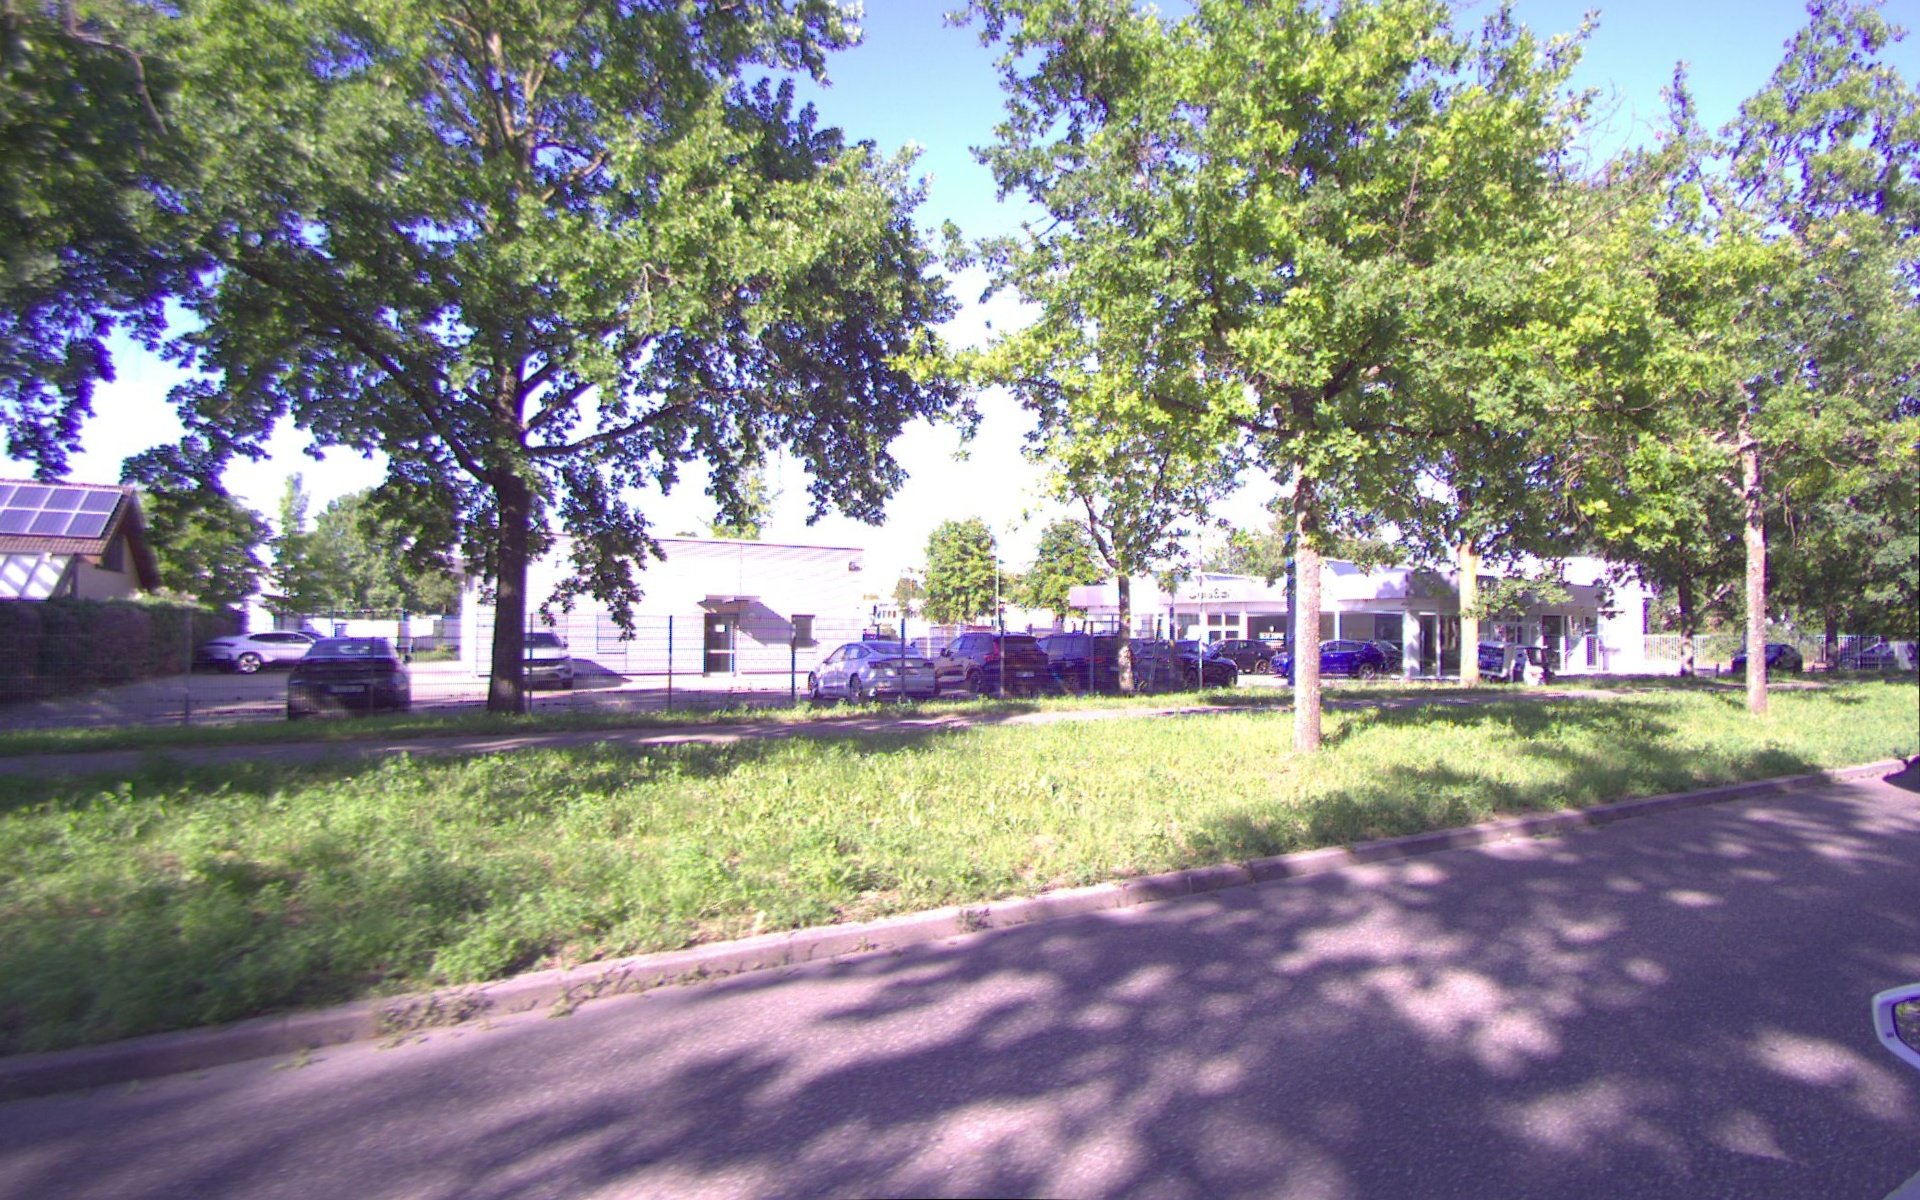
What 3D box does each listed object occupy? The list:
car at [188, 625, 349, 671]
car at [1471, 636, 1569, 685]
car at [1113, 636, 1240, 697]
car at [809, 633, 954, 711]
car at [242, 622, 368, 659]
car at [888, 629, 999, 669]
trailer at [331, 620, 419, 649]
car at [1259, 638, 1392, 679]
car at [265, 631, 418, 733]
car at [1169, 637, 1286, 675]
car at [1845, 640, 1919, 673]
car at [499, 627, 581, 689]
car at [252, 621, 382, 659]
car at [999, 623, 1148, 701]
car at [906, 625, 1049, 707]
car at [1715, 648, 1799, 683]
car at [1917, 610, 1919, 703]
[{"bbox_3d":[-25.548,1.717,37.285,1.717,1.539,4.607,2,0,33],"label":"car"},{"bbox_3d":[18.148,1.934,32.665,1.402,1.489,2.568,1,-2,-15],"label":"car"},{"bbox_3d":[6.946,2.041,31.918,1.971,1.697,4.475,2,0,42],"label":"car"},{"bbox_3d":[-1.978,1.639,23.972,1.839,1.539,4.292,2,0,-29],"label":"car"},{"bbox_3d":[-30.161,1.847,46.336,1.723,1.539,4.592,2,0,44],"label":"car"},{"bbox_3d":[-0.707,2.242,46.371,5.226,1.683,1.973,2,0,-45],"label":"car"},{"bbox_3d":[-41.866,2.473,71.998,5.096,2.040,2.001,0,-1,1],"label":"trailer"},{"bbox_3d":[15.959,2.526,44.046,5.153,1.683,2.001,0,0,7],"label":"car"},{"bbox_3d":[-11.378,1.428,18.734,2.172,1.539,3.969,2,0,-29],"label":"car"},{"bbox_3d":[12.429,2.590,46.810,4.914,1.683,1.999,0,0,-5],"label":"car"},{"bbox_3d":[56.739,3.424,61.228,1.983,1.825,3.954,2,0,-39],"label":"car"},{"bbox_3d":[-12.119,1.612,28.851,1.730,1.539,3.969,2,0,-29],"label":"car"},{"bbox_3d":[-28.506,1.760,44.612,1.723,1.539,4.592,2,0,44],"label":"car"},{"bbox_3d":[2.905,1.578,26.509,1.975,1.765,3.970,2,0,-28],"label":"car"},{"bbox_3d":[0.338,1.584,25.221,1.839,1.769,3.969,2,0,-29],"label":"car"},{"bbox_3d":[41.156,3.337,51.834,4.963,1.619,1.981,2,0,-34],"label":"car"},{"bbox_3d":[11.228,0.967,9.808,4.153,1.694,1.758,2,-3,-32],"label":"car"}]
